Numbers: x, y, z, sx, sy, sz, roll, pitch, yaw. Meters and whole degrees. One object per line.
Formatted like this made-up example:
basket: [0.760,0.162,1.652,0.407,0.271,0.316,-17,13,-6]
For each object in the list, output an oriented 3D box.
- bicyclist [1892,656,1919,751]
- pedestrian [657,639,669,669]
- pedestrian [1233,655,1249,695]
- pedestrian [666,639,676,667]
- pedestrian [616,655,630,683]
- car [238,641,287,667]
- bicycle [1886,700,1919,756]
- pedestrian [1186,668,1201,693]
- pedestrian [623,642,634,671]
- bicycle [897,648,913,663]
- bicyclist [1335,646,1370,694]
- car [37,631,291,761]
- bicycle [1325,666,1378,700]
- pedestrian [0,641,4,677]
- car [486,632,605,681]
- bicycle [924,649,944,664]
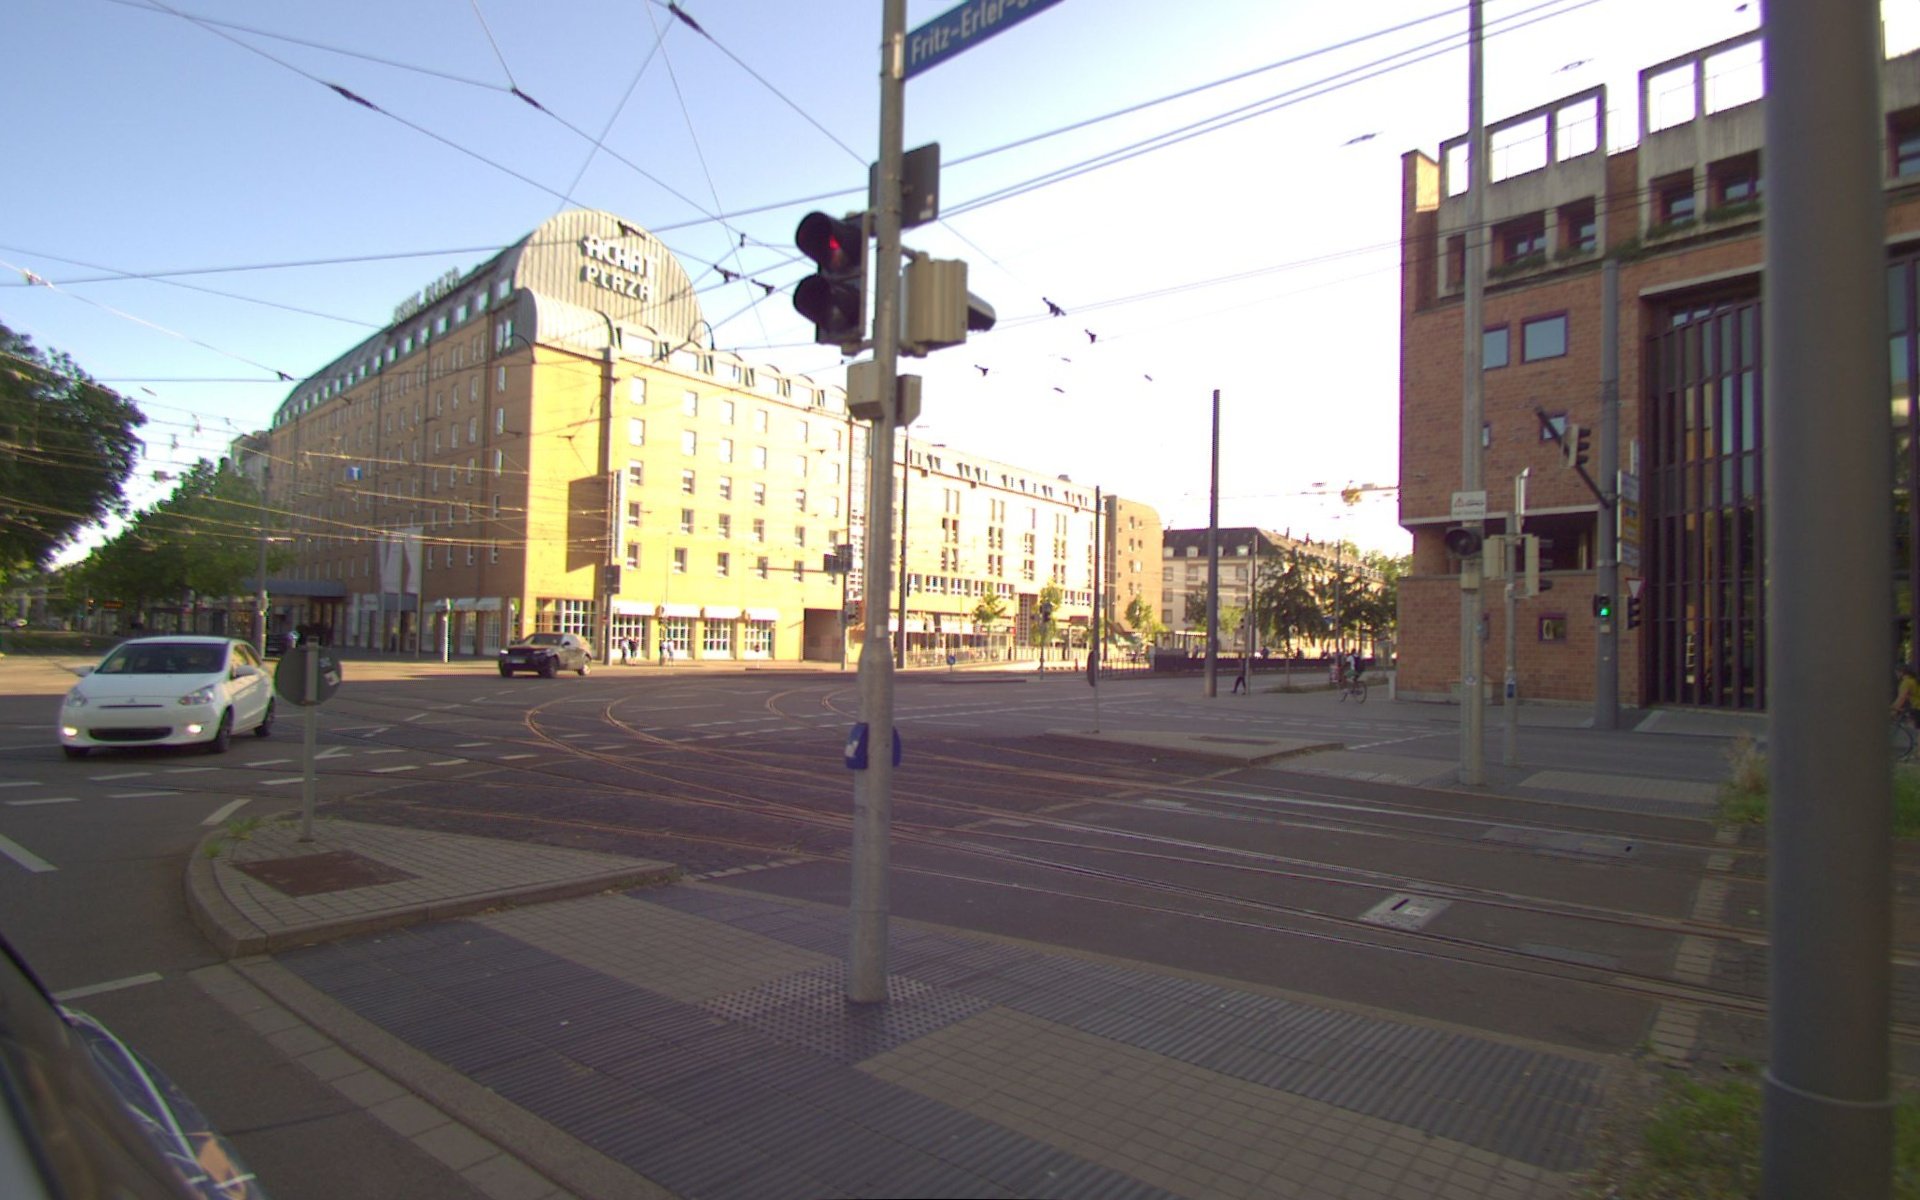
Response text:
bicyclist: [16.938,1.803,17.708,0.614,1.634,0.816,3,-3,-39]
pedestrian: [-18.752,3.417,63.932,0.491,1.847,0.732,2,-1,2]
pedestrian: [11.701,3.126,42.122,0.507,1.629,0.500,-2,-3,27]
pedestrian: [-18.525,3.397,64.834,0.569,1.788,0.406,2,-1,-14]
pedestrian: [-21.209,4.366,63.712,0.603,1.740,0.595,-3,-4,37]
car: [-44.253,3.400,64.151,1.771,1.477,4.313,4,-4,-45]
bicycle: [17.098,2.247,17.467,0.528,0.920,1.572,3,-3,-39]
pedestrian: [14.399,4.950,62.342,0.700,1.546,0.646,-1,-3,34]
pedestrian: [-20.471,3.478,62.514,0.564,1.781,0.697,2,-4,-21]
bicycle: [-4.568,4.586,83.970,0.544,1.157,1.781,2,-1,-32]
bicyclist: [13.470,2.407,34.752,0.674,1.602,0.930,2,-2,-20]
car: [-10.574,1.204,13.806,1.612,1.478,4.200,2,-3,-23]
bicycle: [13.428,2.835,34.779,0.606,1.088,1.926,2,-2,-19]
pedestrian: [-41.977,2.534,43.743,0.674,1.551,0.735,-2,-3,30]
car: [-15.258,2.079,37.519,1.937,1.675,4.336,-1,-3,13]
bicycle: [-2.166,4.771,85.384,1.774,1.150,0.546,1,-1,40]
